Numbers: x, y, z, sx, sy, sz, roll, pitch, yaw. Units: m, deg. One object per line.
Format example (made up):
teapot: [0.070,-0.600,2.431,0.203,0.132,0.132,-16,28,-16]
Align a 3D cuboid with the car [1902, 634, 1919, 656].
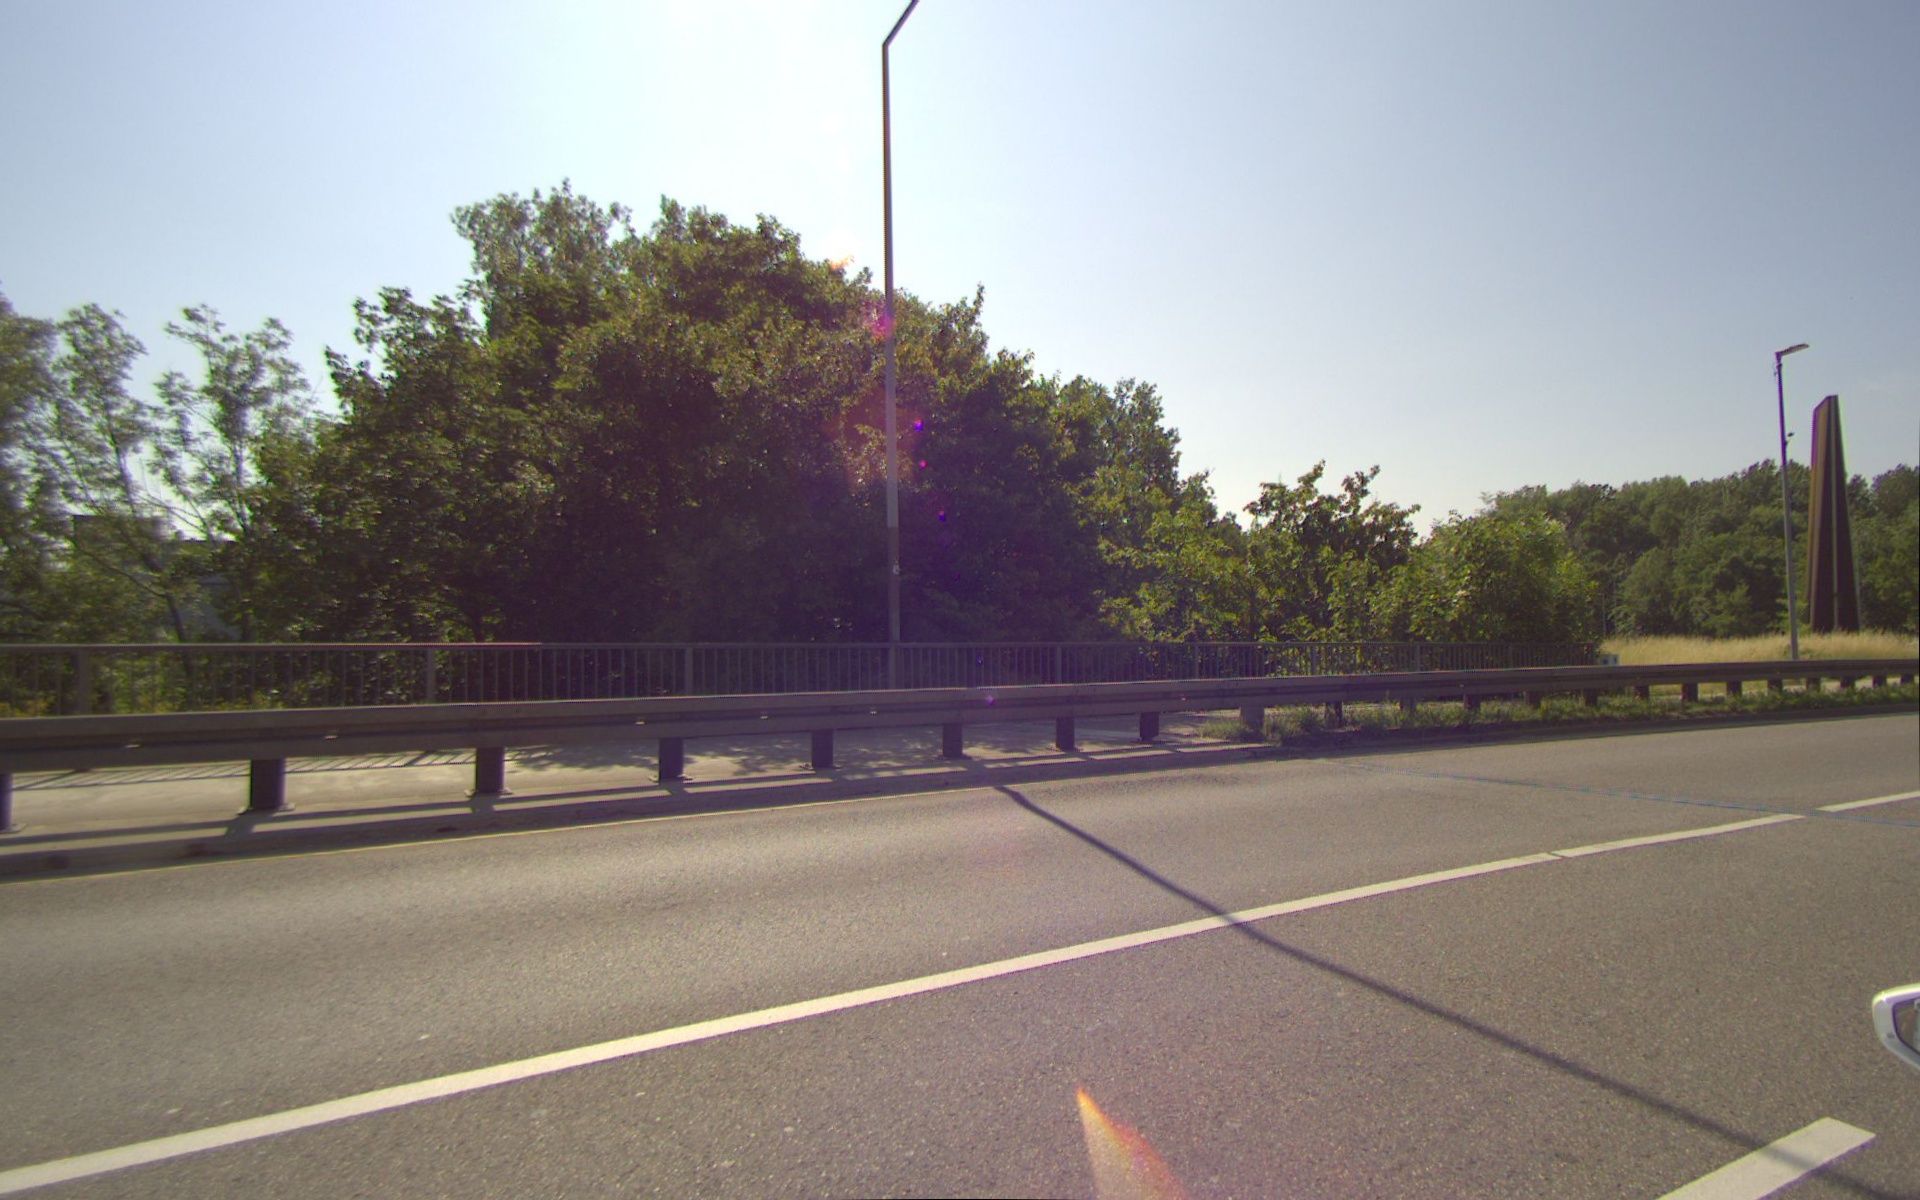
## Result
car: [64.075,2.921,65.312,2.081,1.406,4.004,2,-4,6]
